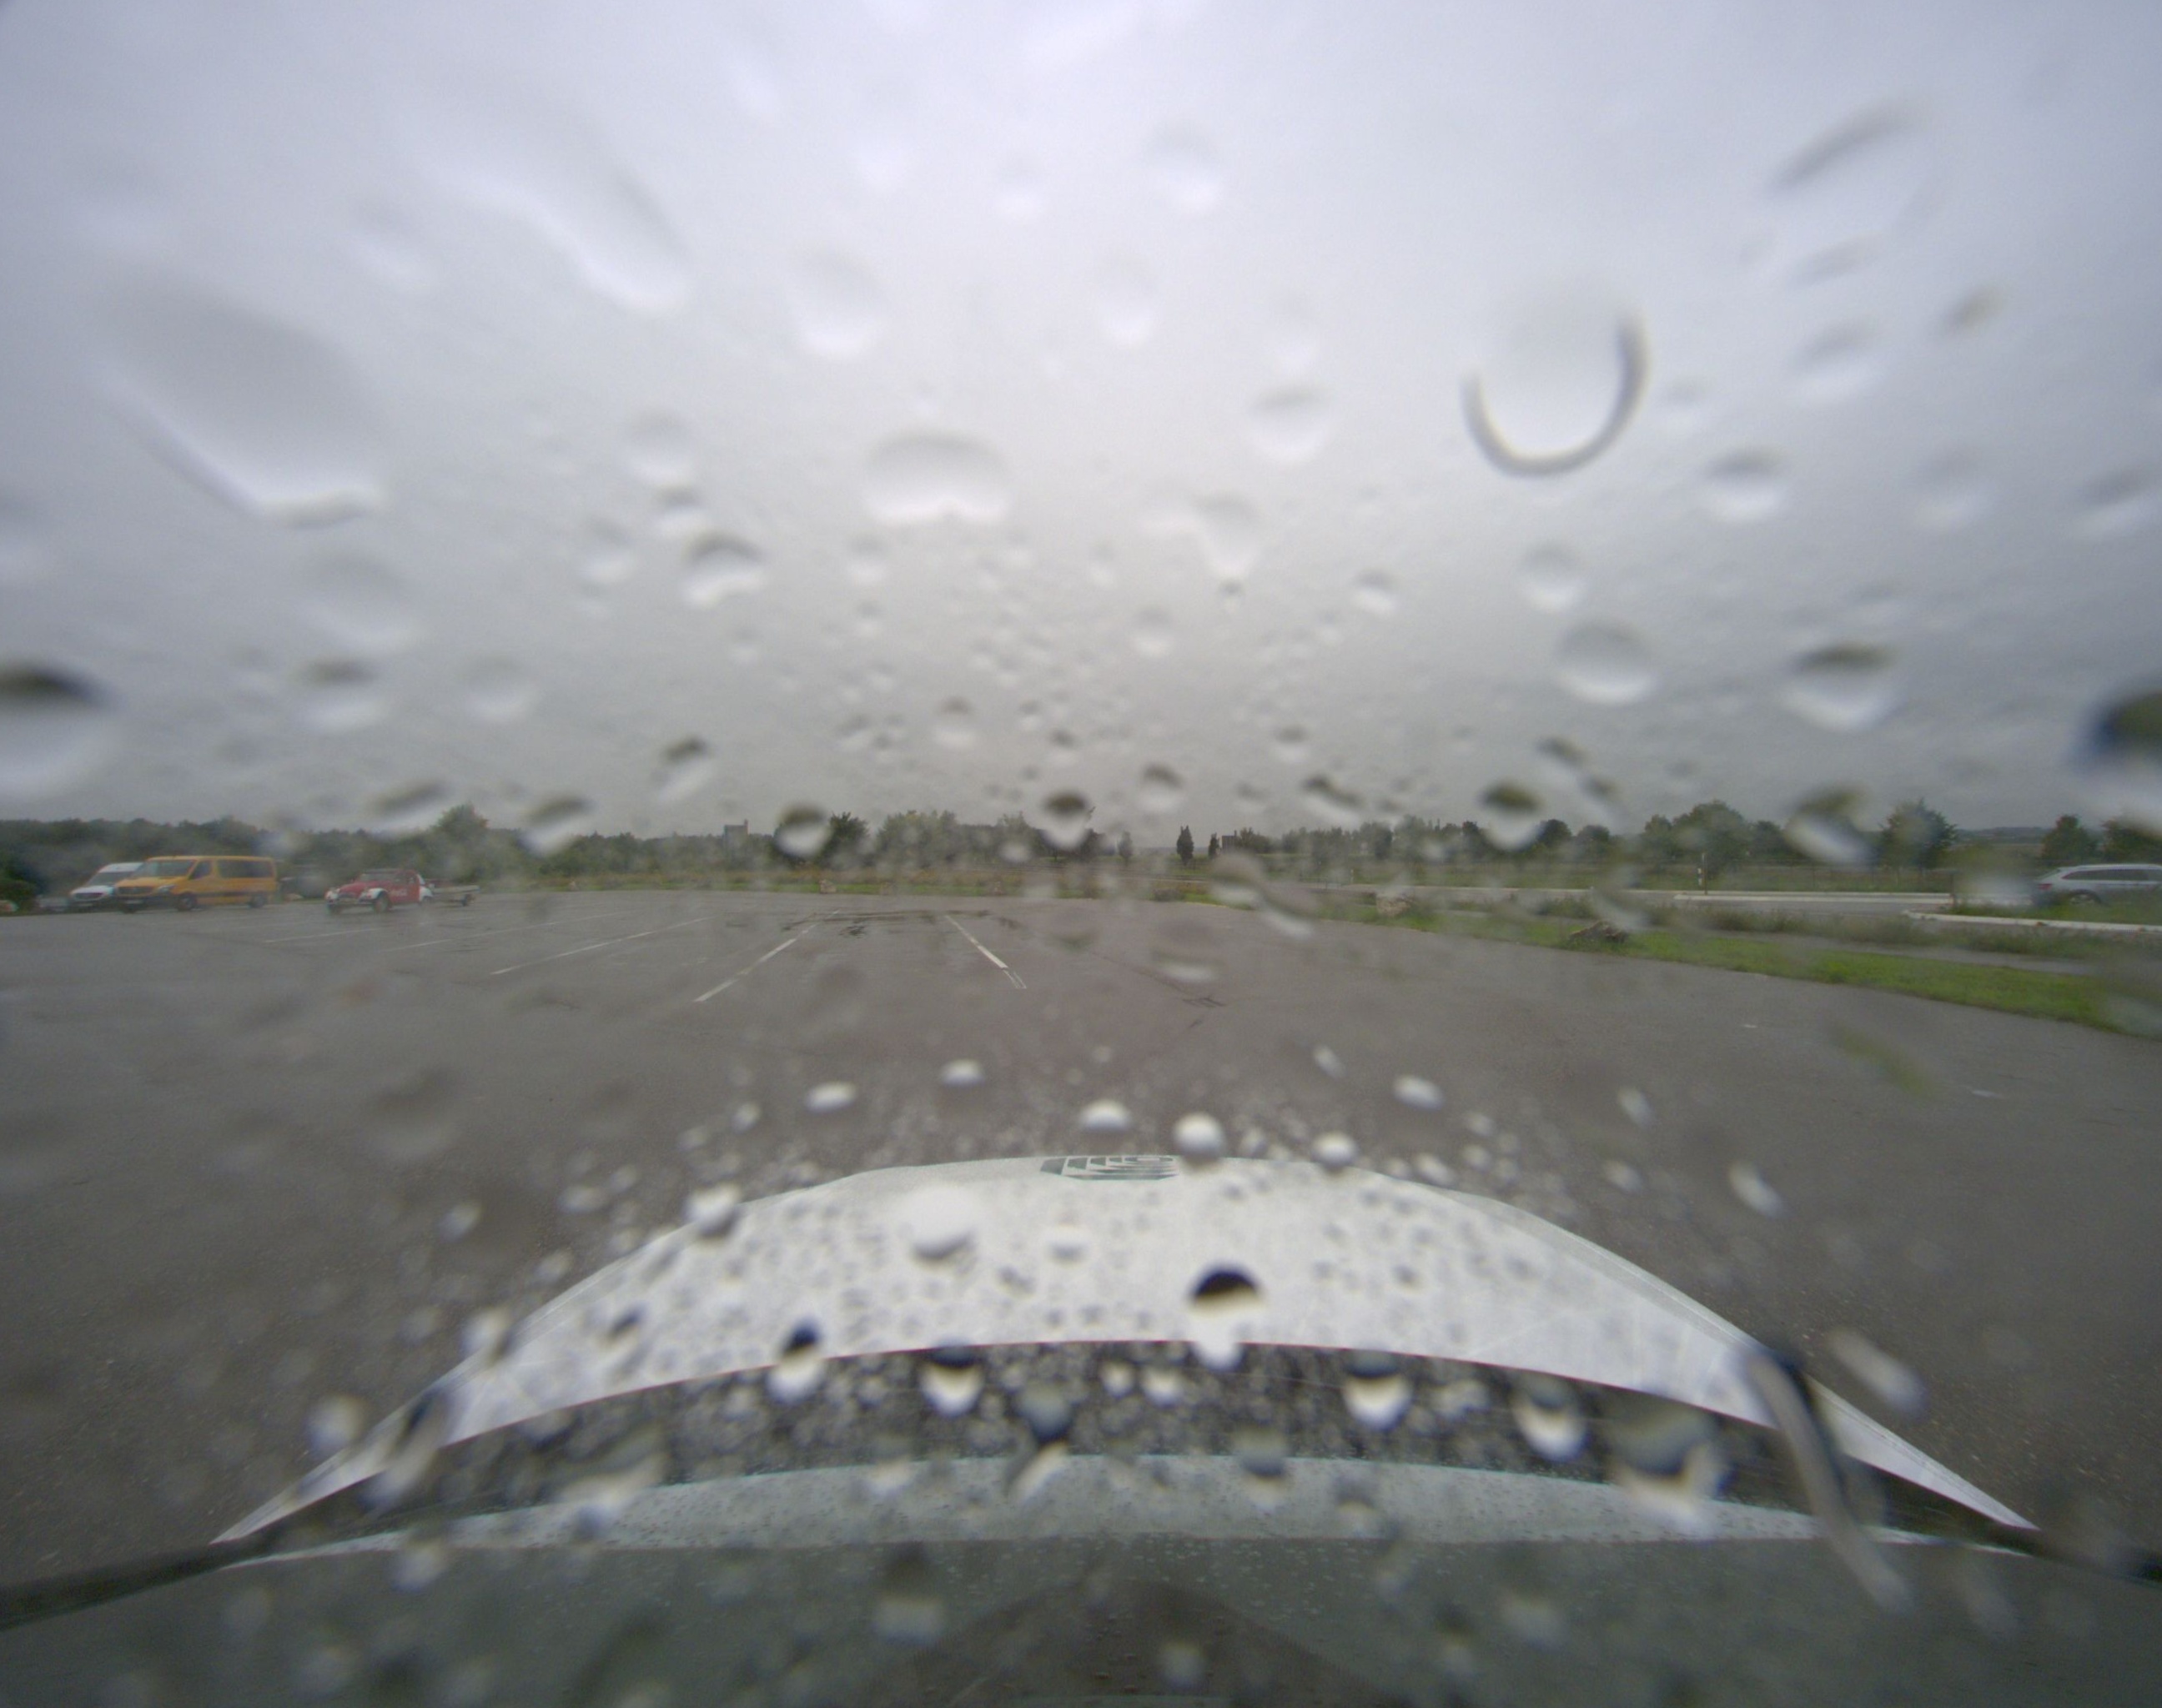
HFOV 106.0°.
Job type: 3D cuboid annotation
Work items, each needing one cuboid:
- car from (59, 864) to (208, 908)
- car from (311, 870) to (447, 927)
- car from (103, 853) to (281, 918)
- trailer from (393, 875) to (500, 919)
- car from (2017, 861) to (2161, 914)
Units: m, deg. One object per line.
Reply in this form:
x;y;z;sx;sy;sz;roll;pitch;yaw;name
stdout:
-49.376;1.618;42.629;1.985;2.202;4.776;0;-1;3;car
-24.437;1.482;28.568;1.823;1.777;3.985;-2;-1;-11;car
-36.899;1.260;34.121;1.997;2.380;5.996;-3;-1;-14;car
-25.179;1.651;32.498;1.696;1.532;3.985;-2;0;-11;trailer
32.393;1.000;25.040;2.010;1.481;4.609;-2;1;-38;car
